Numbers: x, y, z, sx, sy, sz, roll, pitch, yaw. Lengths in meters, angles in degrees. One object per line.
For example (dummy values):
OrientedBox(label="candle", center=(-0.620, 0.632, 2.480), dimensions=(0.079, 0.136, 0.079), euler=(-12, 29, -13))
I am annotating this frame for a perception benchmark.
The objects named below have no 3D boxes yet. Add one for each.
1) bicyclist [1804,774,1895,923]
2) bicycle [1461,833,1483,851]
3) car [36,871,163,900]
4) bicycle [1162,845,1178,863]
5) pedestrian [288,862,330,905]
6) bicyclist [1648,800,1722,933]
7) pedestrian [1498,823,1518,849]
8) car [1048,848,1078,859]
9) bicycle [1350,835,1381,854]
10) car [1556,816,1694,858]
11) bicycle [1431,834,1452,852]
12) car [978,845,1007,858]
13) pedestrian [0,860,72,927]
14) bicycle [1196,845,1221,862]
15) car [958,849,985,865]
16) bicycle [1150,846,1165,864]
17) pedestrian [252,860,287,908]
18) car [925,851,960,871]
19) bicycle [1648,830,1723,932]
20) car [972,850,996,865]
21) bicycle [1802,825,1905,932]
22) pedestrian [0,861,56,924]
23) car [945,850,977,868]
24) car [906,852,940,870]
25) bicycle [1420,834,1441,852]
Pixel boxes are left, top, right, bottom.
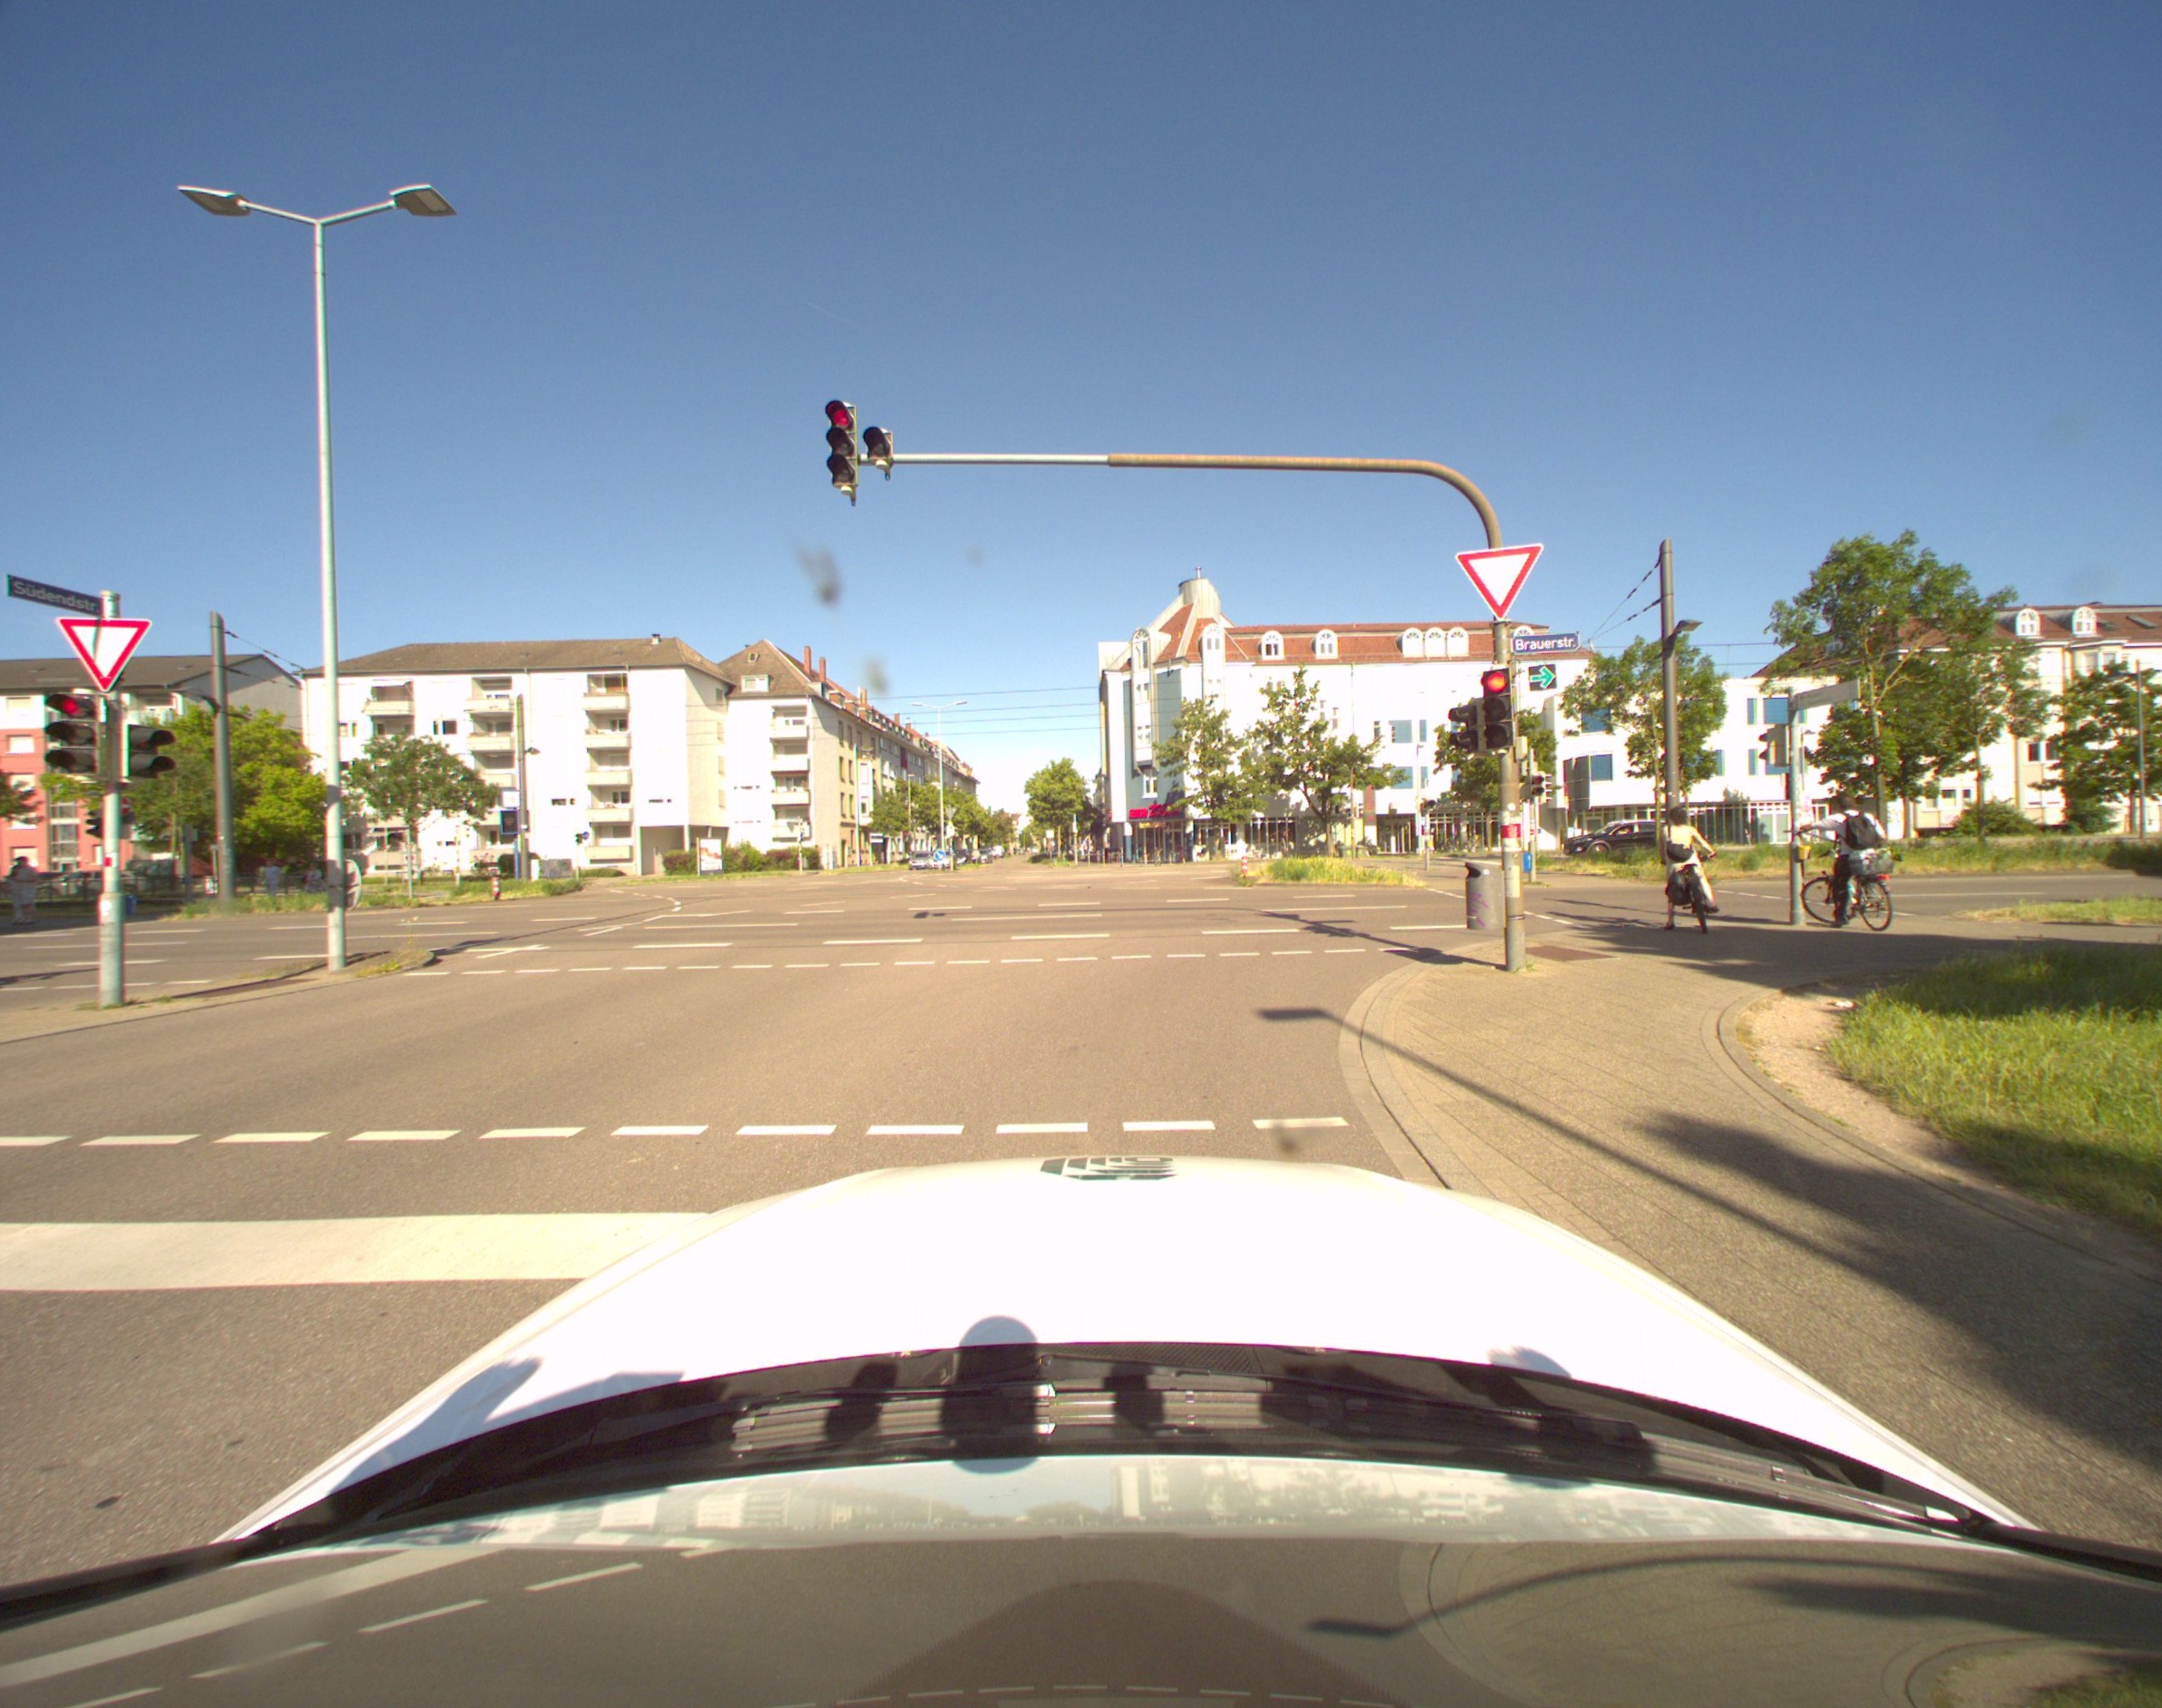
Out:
OrientedBox(label="bicyclist", center=(10.666, -0.073, 11.344), dimensions=(0.782, 1.959, 1.017), euler=(-2, 0, 38))
OrientedBox(label="bicycle", center=(26.454, -0.787, 55.126), dimensions=(0.558, 1.182, 1.871), euler=(-2, 0, 2))
OrientedBox(label="car", center=(-54.471, 1.734, 45.289), dimensions=(1.672, 1.432, 4.427), euler=(1, 0, 38))
OrientedBox(label="bicycle", center=(5.219, 0.000, 48.069), dimensions=(0.472, 1.027, 1.510), euler=(-2, 0, -12))
OrientedBox(label="pedestrian", center=(-28.970, 1.105, 30.583), dimensions=(0.723, 1.533, 0.857), euler=(-2, 0, -5))
OrientedBox(label="bicyclist", center=(8.784, 0.162, 11.838), dimensions=(0.782, 1.824, 1.143), euler=(-2, 0, 38))
OrientedBox(label="pedestrian", center=(29.365, -1.213, 56.021), dimensions=(0.987, 1.723, 0.654), euler=(-2, 0, -1))
OrientedBox(label="car", center=(-2.277, -0.066, 100.866), dimensions=(3.564, 1.223, 1.726), euler=(-1, -1, -8))
OrientedBox(label="bicycle", center=(18.877, -0.631, 54.036), dimensions=(1.860, 1.182, 0.561), euler=(-2, 0, -4))
OrientedBox(label="car", center=(23.221, -0.710, 34.937), dimensions=(4.474, 1.609, 2.005), euler=(-2, 0, 9))
OrientedBox(label="bicycle", center=(24.590, -0.762, 55.537), dimensions=(0.559, 1.182, 1.869), euler=(-2, 0, -1))
OrientedBox(label="car", center=(-14.240, -0.353, 131.668), dimensions=(4.494, 2.014, 1.998), euler=(-1, -1, -3))
OrientedBox(label="pedestrian", center=(-28.791, 1.060, 22.262), dimensions=(0.919, 1.770, 1.152), euler=(-2, 0, -5))
OrientedBox(label="bicycle", center=(7.798, -0.037, 49.816), dimensions=(1.501, 1.027, 0.474), euler=(-2, 0, 10))
OrientedBox(label="car", center=(-10.019, 0.260, 74.822), dimensions=(1.681, 1.432, 4.403), euler=(1, 0, 3))
OrientedBox(label="bicycle", center=(4.444, 0.038, 47.547), dimensions=(0.471, 1.027, 1.511), euler=(-2, 0, -11))
OrientedBox(label="pedestrian", center=(-29.927, 1.092, 30.039), dimensions=(1.139, 1.726, 0.818), euler=(-2, 0, 42))
OrientedBox(label="car", center=(-10.553, 0.482, 62.207), dimensions=(1.681, 1.432, 4.403), euler=(1, 0, 3))
OrientedBox(label="bicycle", center=(8.810, 0.345, 11.843), dimensions=(0.782, 1.347, 2.092), euler=(-2, 0, 38))
OrientedBox(label="car", center=(-9.960, 0.336, 83.880), dimensions=(1.681, 1.432, 4.403), euler=(1, 0, 3))
OrientedBox(label="bicycle", center=(10.707, 0.289, 11.364), dimensions=(0.782, 1.347, 2.277), euler=(-2, 0, 38))
OrientedBox(label="pedestrian", center=(-30.285, 1.093, 23.139), dimensions=(0.809, 1.726, 1.152), euler=(-2, 0, -5))
OrientedBox(label="car", center=(-10.051, 0.405, 68.557), dimensions=(1.680, 1.432, 4.405), euler=(1, 0, 4))
OrientedBox(label="car", center=(-12.599, 0.538, 65.233), dimensions=(1.681, 1.432, 4.403), euler=(1, 0, 3))
OrientedBox(label="bicycle", center=(23.690, -0.764, 55.224), dimensions=(0.559, 1.182, 1.869), euler=(-2, 0, -1))
